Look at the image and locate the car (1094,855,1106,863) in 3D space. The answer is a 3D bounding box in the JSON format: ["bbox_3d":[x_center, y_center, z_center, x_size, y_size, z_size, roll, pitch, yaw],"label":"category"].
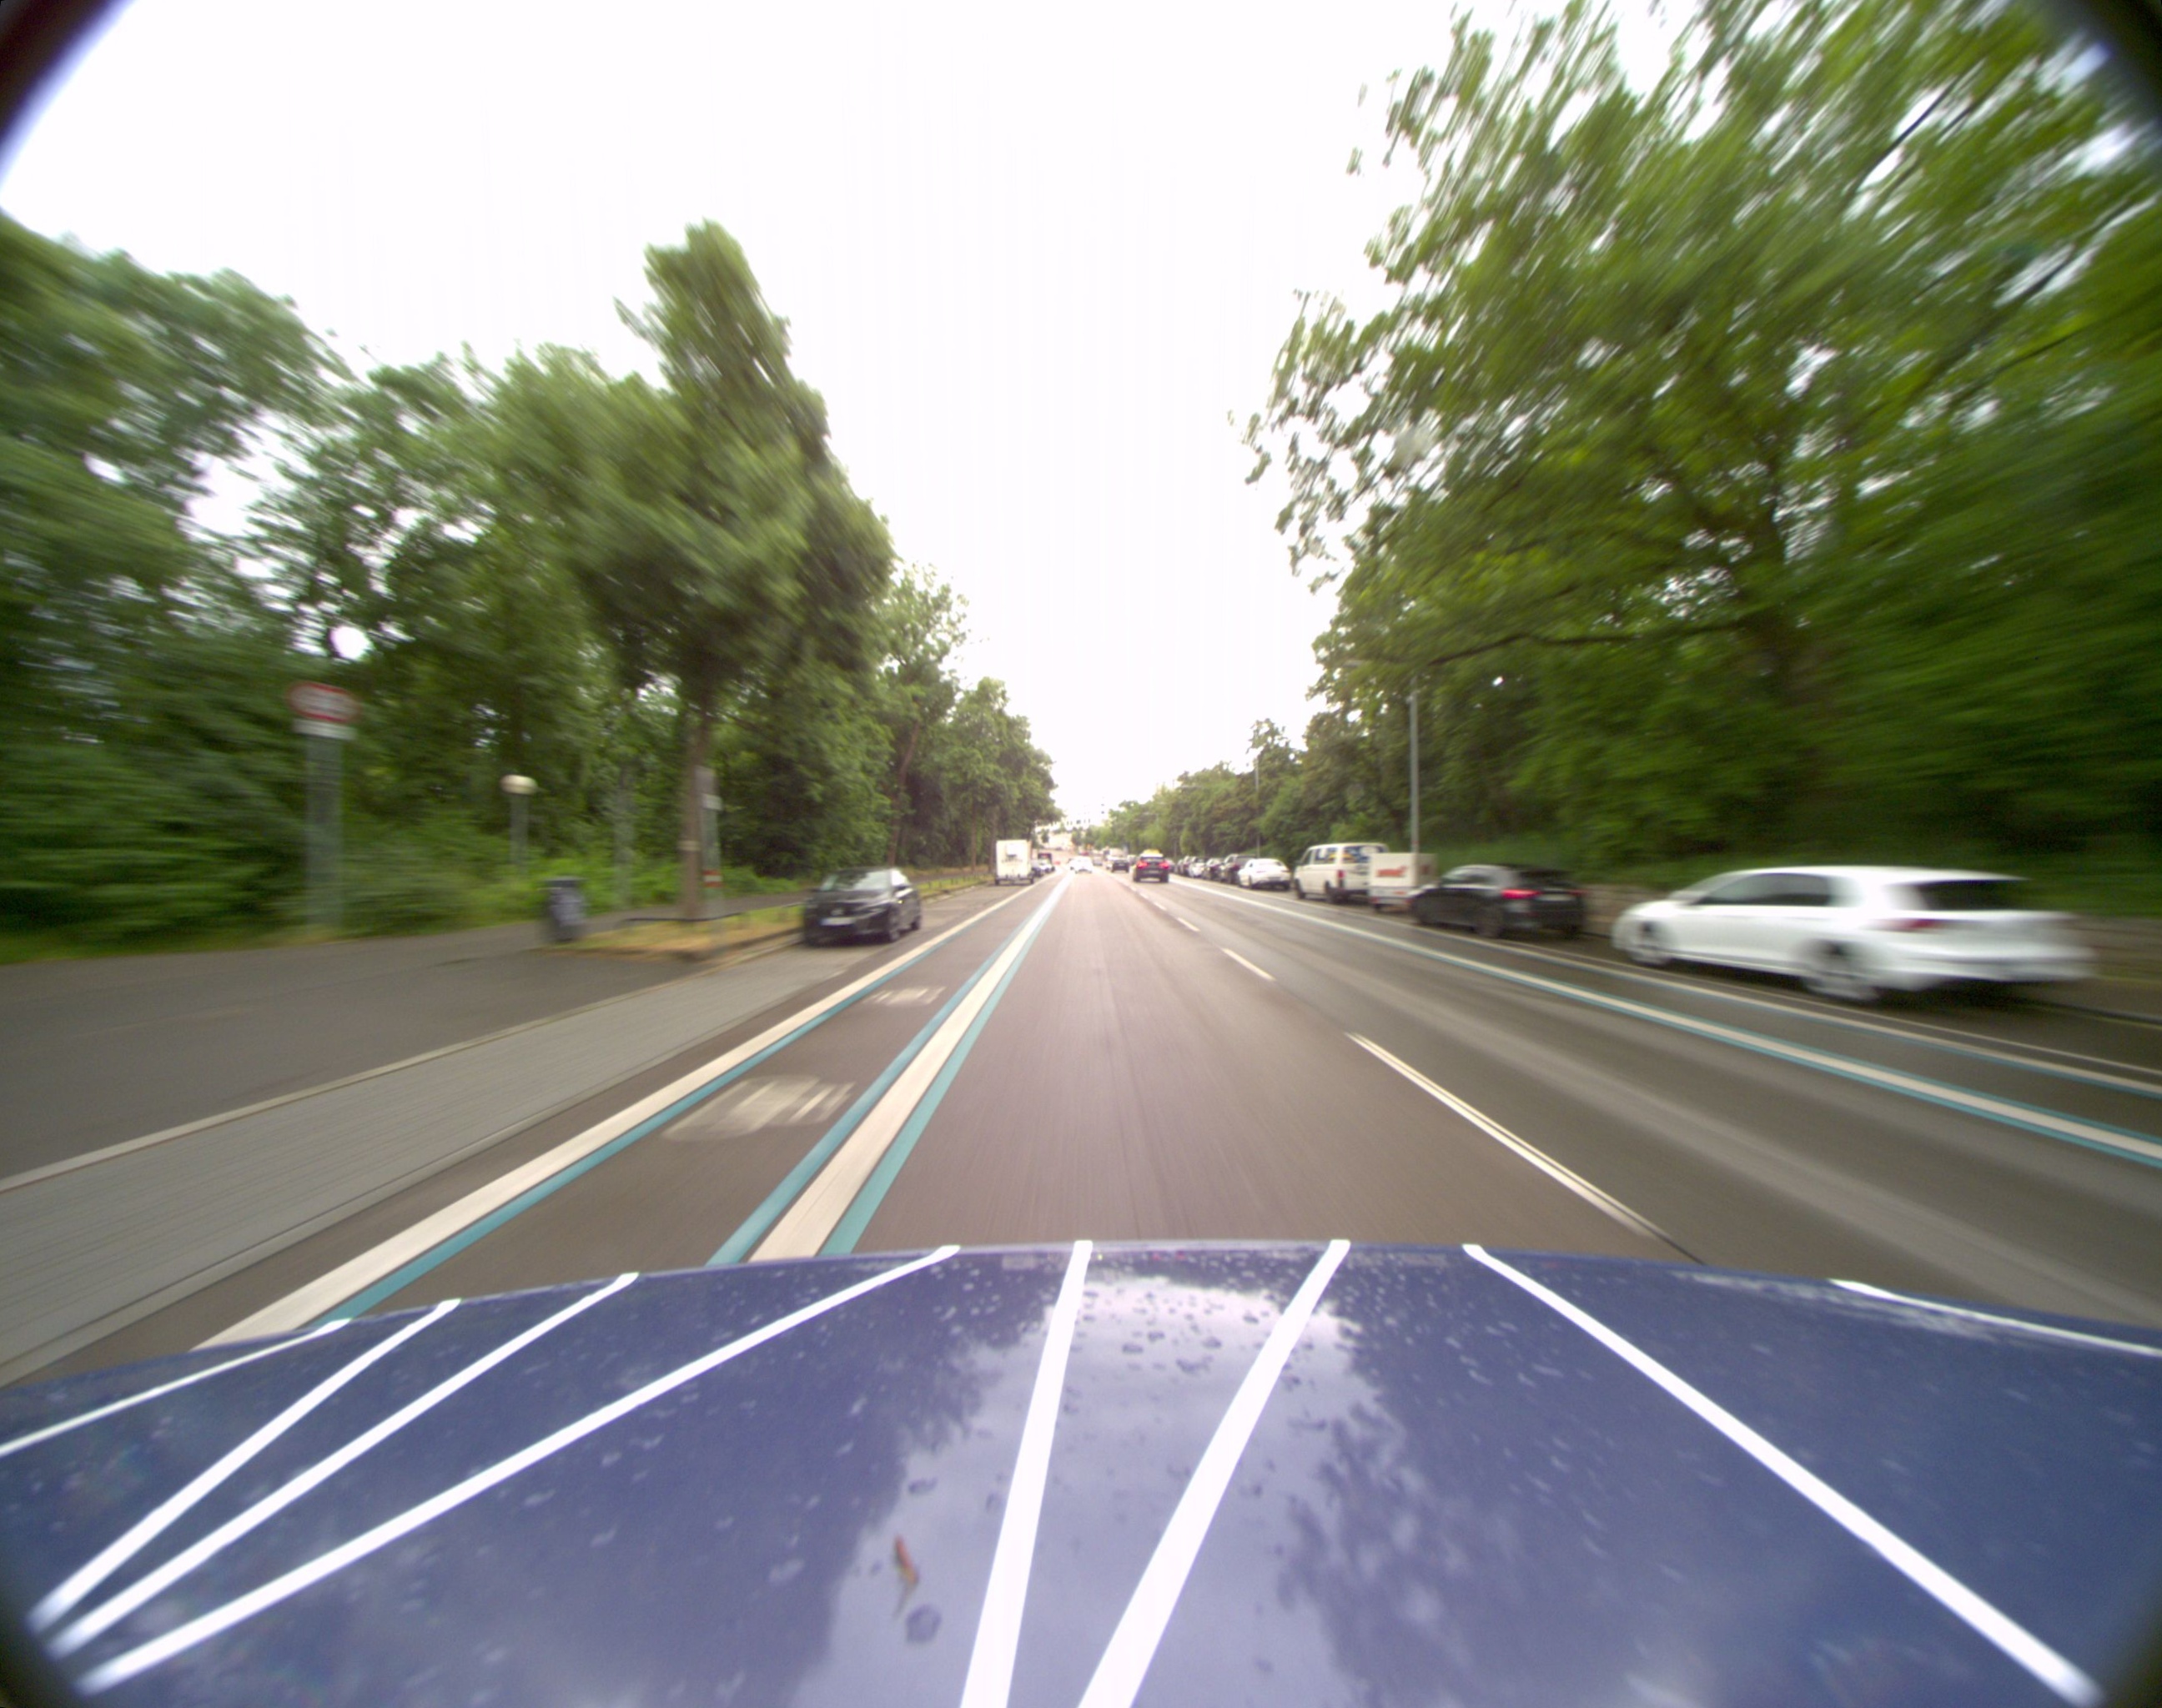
[{"bbox_3d":[3.167,0.835,127.482,1.805,1.394,3.999,-1,0,-3],"label":"car"}]

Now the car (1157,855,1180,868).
[{"bbox_3d":[8.589,0.735,74.866,1.825,1.285,4.206,-1,0,0],"label":"car"}]

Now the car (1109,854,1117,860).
[{"bbox_3d":[7.429,0.644,176.971,1.825,1.427,3.558,1,0,0],"label":"car"}]

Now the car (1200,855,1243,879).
[{"bbox_3d":[9.035,0.806,49.298,1.901,1.466,4.553,-1,0,-1],"label":"car"}]

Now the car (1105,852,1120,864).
[{"bbox_3d":[4.118,0.546,100.643,1.790,1.570,4.258,1,0,0],"label":"car"}]

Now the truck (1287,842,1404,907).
[{"bbox_3d":[8.987,0.624,26.373,2.099,2.002,5.158,-1,0,-2],"label":"truck"}]

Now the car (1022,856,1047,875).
[{"bbox_3d":[-3.705,0.902,61.358,1.804,1.455,4.000,-1,0,0],"label":"car"}]

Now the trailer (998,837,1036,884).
[{"bbox_3d":[-3.676,0.357,44.257,1.988,2.550,3.999,-1,0,-2],"label":"trailer"}]

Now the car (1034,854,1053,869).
[{"bbox_3d":[-3.889,0.767,80.255,1.804,1.589,4.000,-1,0,0],"label":"car"}]

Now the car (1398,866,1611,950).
[{"bbox_3d":[8.529,1.007,15.846,1.826,1.390,4.444,-1,0,-3],"label":"car"}]

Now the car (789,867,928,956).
[{"bbox_3d":[-4.313,1.041,15.378,1.700,1.468,3.997,-1,0,-1],"label":"car"}]

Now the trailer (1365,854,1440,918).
[{"bbox_3d":[8.964,0.830,21.121,1.347,1.648,2.271,0,1,38],"label":"trailer"}]

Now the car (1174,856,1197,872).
[{"bbox_3d":[8.842,0.858,64.412,1.514,1.285,3.597,-1,0,0],"label":"car"}]

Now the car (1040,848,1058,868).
[{"bbox_3d":[-3.846,0.473,92.083,1.998,2.231,3.999,-2,1,0],"label":"car"}]

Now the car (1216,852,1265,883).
[{"bbox_3d":[8.978,0.738,43.128,1.740,1.651,4.673,0,0,-1],"label":"car"}]

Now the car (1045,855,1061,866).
[{"bbox_3d":[-3.693,0.879,101.648,1.862,1.361,3.999,-2,1,0],"label":"car"}]

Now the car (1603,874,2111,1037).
[{"bbox_3d":[8.840,1.016,9.360,1.759,1.427,4.356,0,0,-1],"label":"car"}]

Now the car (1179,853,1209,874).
[{"bbox_3d":[8.769,0.710,59.101,1.819,1.579,3.992,0,0,1],"label":"car"}]

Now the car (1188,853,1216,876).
[{"bbox_3d":[8.687,0.746,54.824,1.527,1.584,2.860,0,0,-1],"label":"car"}]

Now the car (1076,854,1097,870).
[{"bbox_3d":[0.532,0.775,76.653,1.998,1.589,4.000,-1,0,0],"label":"car"}]

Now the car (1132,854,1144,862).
[{"bbox_3d":[9.667,0.691,128.723,1.825,1.427,3.558,-1,0,0],"label":"car"}]

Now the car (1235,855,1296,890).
[{"bbox_3d":[8.779,0.833,36.600,1.811,1.489,4.752,0,1,0],"label":"car"}]

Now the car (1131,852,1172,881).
[{"bbox_3d":[4.127,0.701,45.113,2.043,1.639,4.477,0,0,1],"label":"car"}]

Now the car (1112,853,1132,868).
[{"bbox_3d":[4.188,0.642,77.871,1.769,1.449,4.496,1,0,1],"label":"car"}]

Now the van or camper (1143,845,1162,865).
[{"bbox_3d":[9.438,0.123,100.516,2.165,2.437,4.436,-1,0,0],"label":"van or camper"}]

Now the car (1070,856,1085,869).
[{"bbox_3d":[-0.482,1.081,98.930,1.850,1.719,3.730,-1,0,0],"label":"car"}]

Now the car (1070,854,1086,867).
[{"bbox_3d":[-0.318,0.866,98.070,1.998,1.629,4.000,0,1,1],"label":"car"}]
